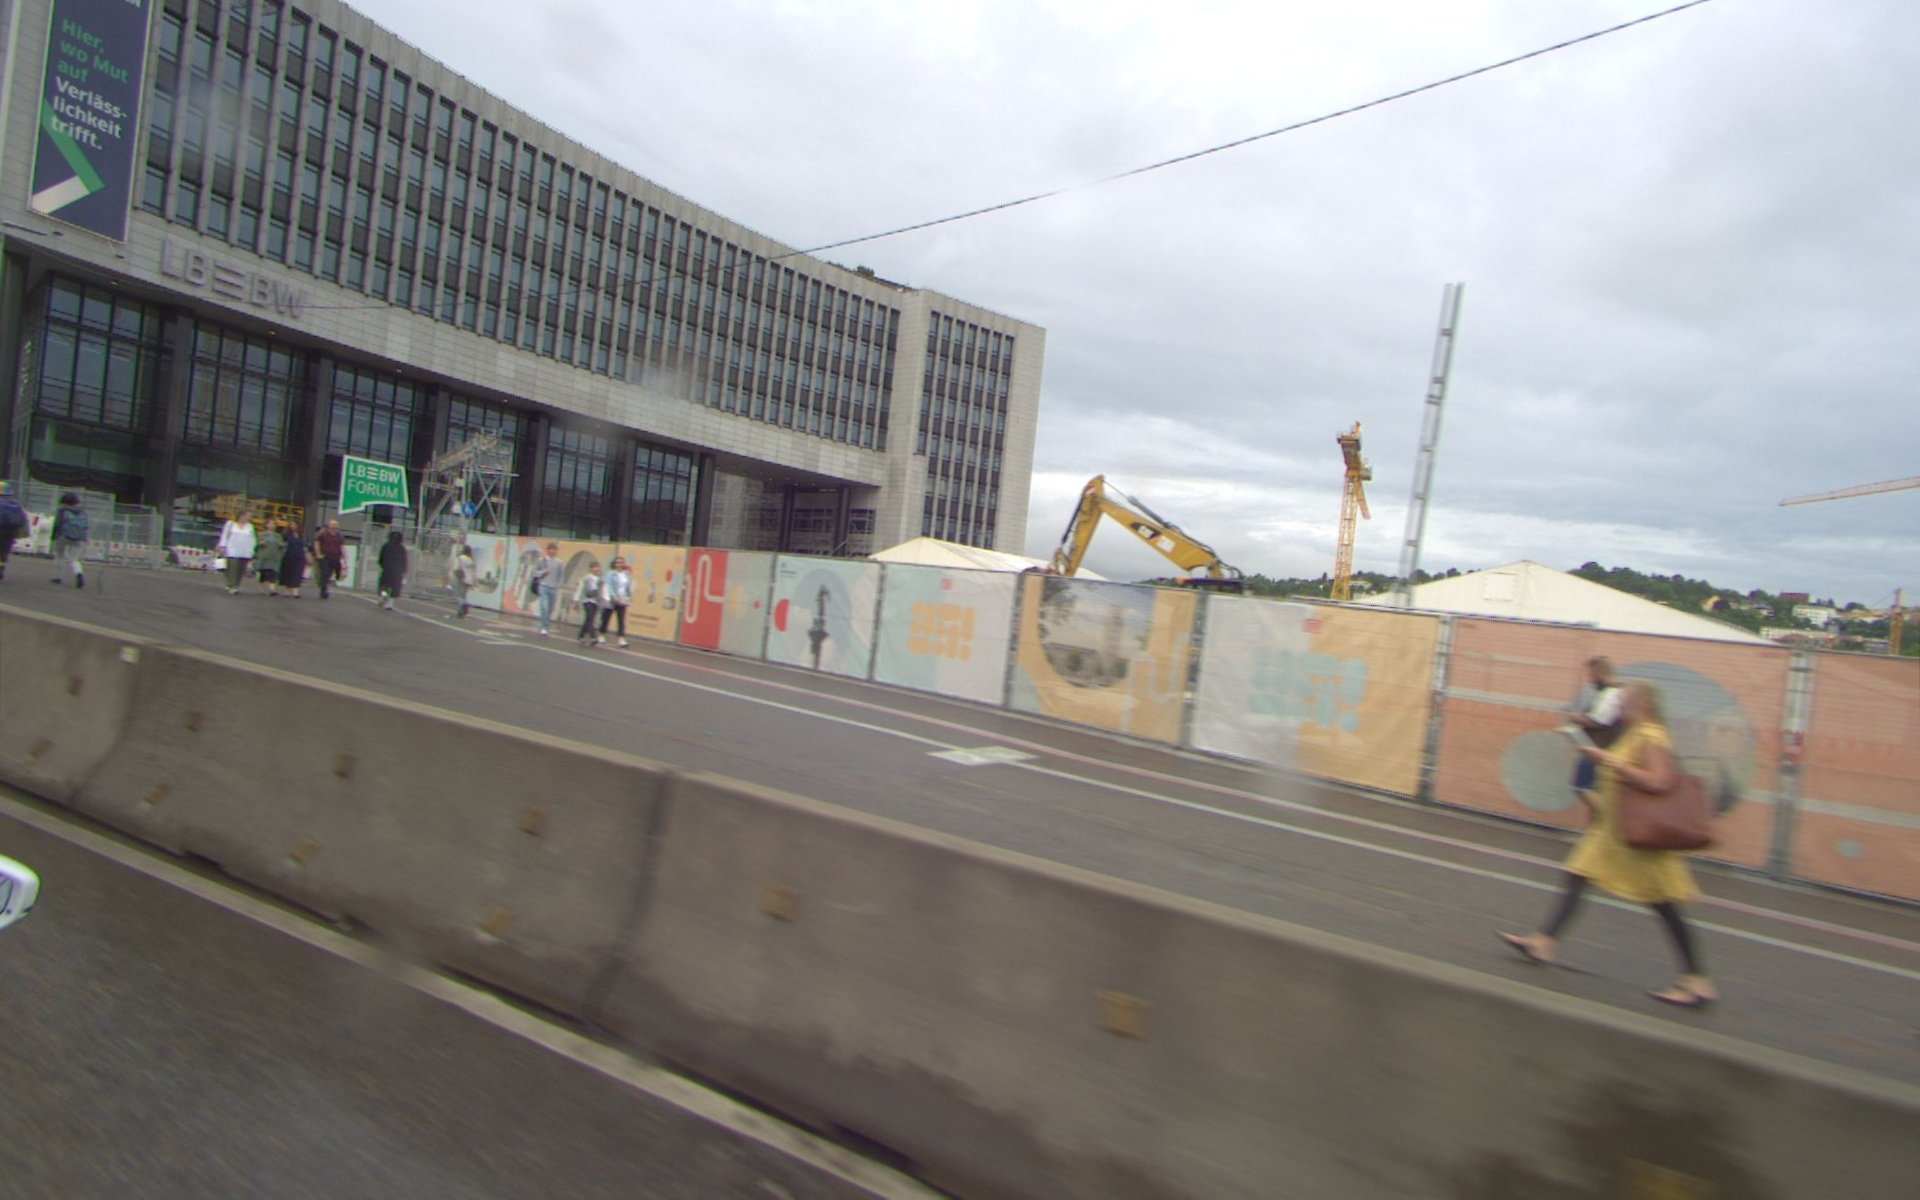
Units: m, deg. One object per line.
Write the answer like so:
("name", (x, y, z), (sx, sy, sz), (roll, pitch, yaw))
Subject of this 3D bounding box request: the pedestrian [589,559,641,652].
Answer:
("pedestrian", (-6.567, 0.102, 19.134), (0.642, 1.675, 0.759), (6, 0, -32))

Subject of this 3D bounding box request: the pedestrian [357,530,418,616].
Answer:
("pedestrian", (-12.551, -0.600, 22.061), (0.862, 1.747, 0.997), (6, 0, -39))

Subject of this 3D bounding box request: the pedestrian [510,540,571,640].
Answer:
("pedestrian", (-8.372, -0.212, 20.062), (0.812, 1.871, 0.924), (6, 0, -32))

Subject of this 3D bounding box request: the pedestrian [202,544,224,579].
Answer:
("pedestrian", (-36.987, -1.915, 49.829), (0.700, 1.635, 0.560), (6, 0, -35))

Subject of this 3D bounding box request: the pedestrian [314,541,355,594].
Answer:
("pedestrian", (-19.839, -1.030, 31.913), (0.862, 1.572, 0.997), (6, 0, -39))

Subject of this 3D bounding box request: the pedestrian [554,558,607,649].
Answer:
("pedestrian", (-6.999, 0.056, 18.530), (0.642, 1.572, 0.759), (6, 0, -32))

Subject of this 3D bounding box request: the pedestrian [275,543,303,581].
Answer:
("pedestrian", (-31.249, -1.753, 46.844), (0.728, 1.657, 0.652), (6, 0, -9))

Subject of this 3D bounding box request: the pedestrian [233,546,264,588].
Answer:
("pedestrian", (-30.160, -1.418, 42.643), (0.862, 1.657, 0.997), (6, 0, -39))

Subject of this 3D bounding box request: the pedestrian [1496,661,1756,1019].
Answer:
("pedestrian", (3.507, 1.204, 5.391), (0.891, 1.652, 0.649), (6, 0, 22))

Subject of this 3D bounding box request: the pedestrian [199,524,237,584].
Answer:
("pedestrian", (-21.738, -1.354, 29.464), (0.721, 1.657, 0.906), (6, 0, -39))

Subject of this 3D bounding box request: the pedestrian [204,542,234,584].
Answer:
("pedestrian", (-30.967, -1.544, 42.032), (0.862, 1.657, 0.997), (6, 0, -39))

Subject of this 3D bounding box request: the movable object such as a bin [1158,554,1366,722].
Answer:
("movable object such as a bin", (7.251, 0.866, 24.214), (4.158, 3.451, 1.940), (6, 0, 29))

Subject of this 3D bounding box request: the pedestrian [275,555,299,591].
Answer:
("pedestrian", (-33.808, -1.367, 50.559), (0.860, 1.657, 0.999), (6, 0, -34))

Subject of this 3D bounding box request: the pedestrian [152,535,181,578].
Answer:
("pedestrian", (-31.976, -1.735, 40.533), (0.579, 1.657, 0.749), (6, 0, -20))

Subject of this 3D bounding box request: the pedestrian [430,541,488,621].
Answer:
("pedestrian", (-11.499, -0.437, 23.079), (0.862, 1.710, 0.997), (6, 0, -39))

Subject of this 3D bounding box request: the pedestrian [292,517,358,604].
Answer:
("pedestrian", (-14.410, -0.900, 22.820), (0.994, 1.840, 0.865), (6, 0, 41))

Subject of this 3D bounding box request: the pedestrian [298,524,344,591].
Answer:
("pedestrian", (-18.370, -1.218, 28.934), (0.862, 1.803, 0.997), (6, 0, -39))

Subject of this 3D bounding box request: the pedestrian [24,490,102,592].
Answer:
("pedestrian", (-15.449, -1.018, 17.354), (0.857, 1.613, 0.942), (6, 0, -41))

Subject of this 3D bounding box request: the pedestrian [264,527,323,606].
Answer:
("pedestrian", (-14.355, -0.723, 21.656), (0.994, 1.572, 0.713), (6, 0, 41))

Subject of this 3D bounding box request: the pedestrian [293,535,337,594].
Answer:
("pedestrian", (-19.371, -1.073, 30.197), (0.862, 1.657, 0.997), (6, 0, -39))

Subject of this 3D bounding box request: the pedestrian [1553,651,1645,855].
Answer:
("pedestrian", (5.913, 1.396, 9.304), (0.488, 1.769, 0.566), (7, 0, 40))

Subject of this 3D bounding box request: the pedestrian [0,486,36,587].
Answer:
("pedestrian", (-15.842, -1.067, 16.558), (0.729, 1.593, 0.796), (8, -1, -41))

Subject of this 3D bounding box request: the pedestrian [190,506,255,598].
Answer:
("pedestrian", (-15.109, -0.986, 20.613), (0.879, 1.744, 0.776), (6, 0, 41))

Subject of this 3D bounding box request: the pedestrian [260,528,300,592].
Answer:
("pedestrian", (-20.636, -1.218, 30.525), (0.767, 1.805, 0.997), (6, 0, -39))

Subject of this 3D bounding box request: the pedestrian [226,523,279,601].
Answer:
("pedestrian", (-14.915, -0.797, 21.197), (0.873, 1.541, 0.608), (6, 0, 41))

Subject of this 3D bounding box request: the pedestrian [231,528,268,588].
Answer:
("pedestrian", (-21.048, -1.252, 29.796), (0.694, 1.657, 0.906), (6, 0, -39))
